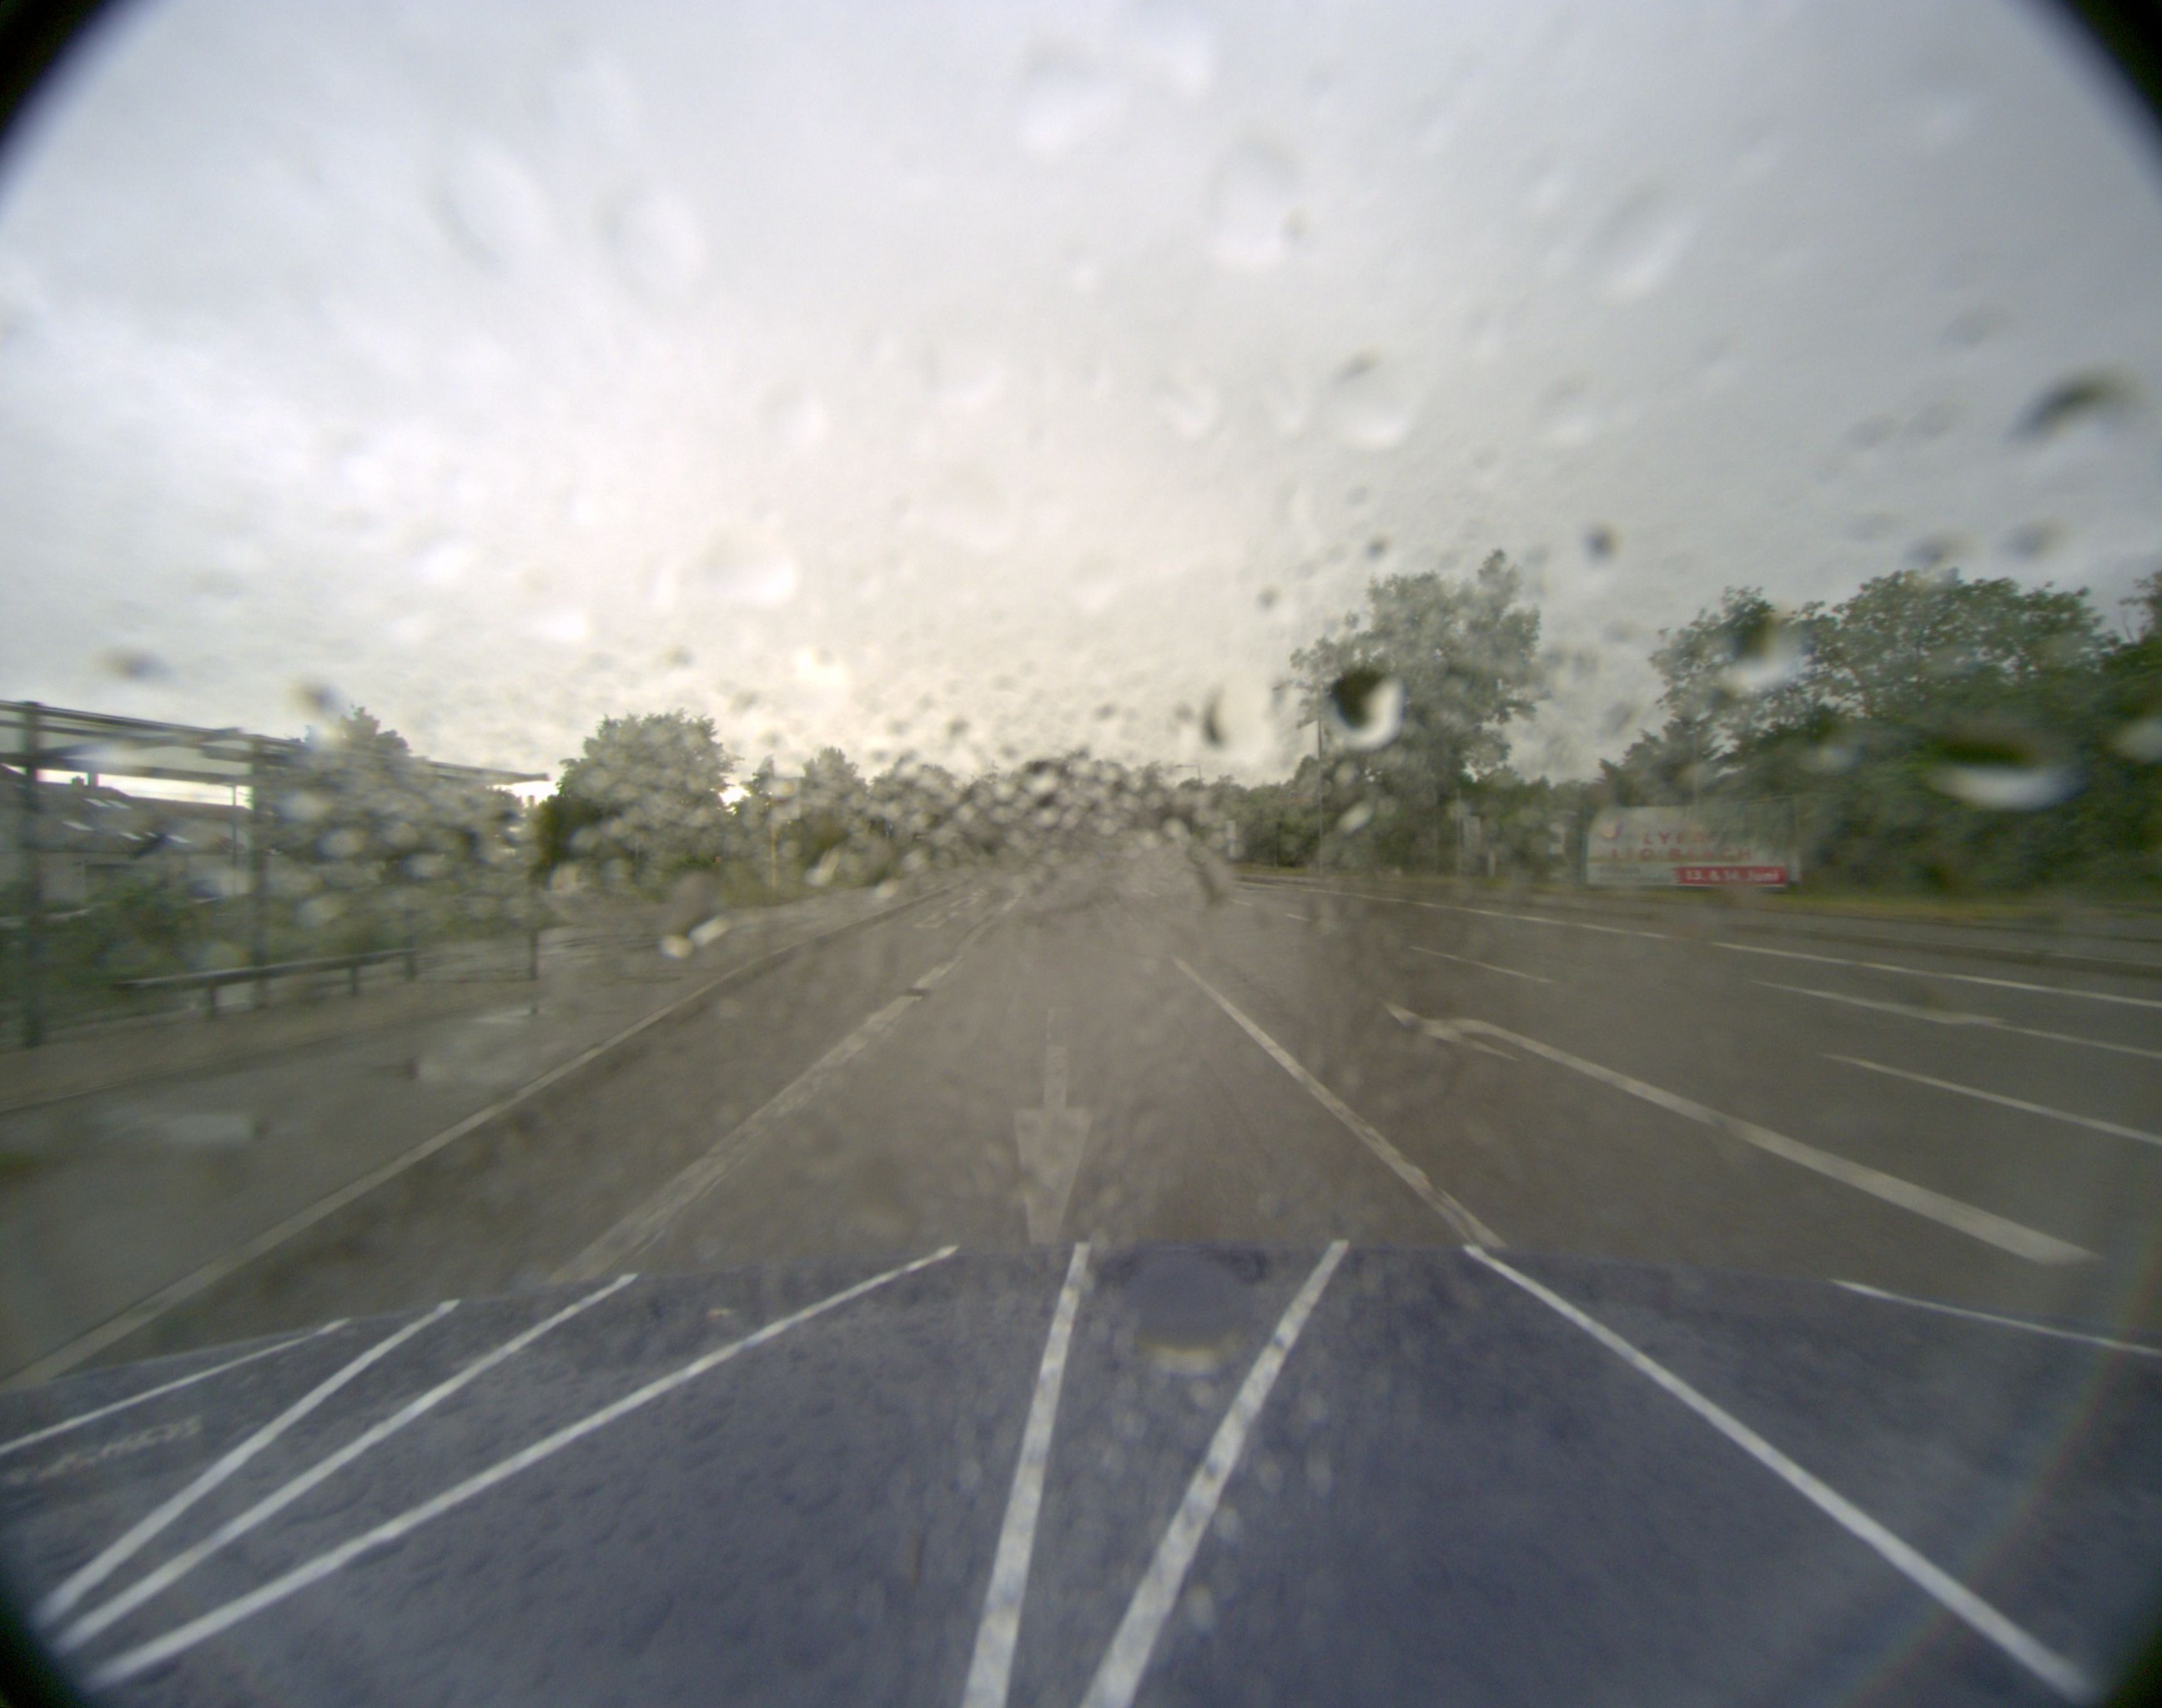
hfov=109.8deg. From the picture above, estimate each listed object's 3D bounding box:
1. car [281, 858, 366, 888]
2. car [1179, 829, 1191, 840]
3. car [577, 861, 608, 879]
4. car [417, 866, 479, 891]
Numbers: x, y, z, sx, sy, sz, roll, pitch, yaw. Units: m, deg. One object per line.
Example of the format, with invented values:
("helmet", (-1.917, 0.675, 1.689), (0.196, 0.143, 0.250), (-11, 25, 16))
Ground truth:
("car", (-50.297, 1.235, 50.589), (2.000, 1.740, 3.912), (-2, 2, -8))
("car", (19.353, -3.670, 141.494), (1.965, 2.002, 4.002), (-1, 2, 9))
("car", (-43.354, 1.406, 67.397), (1.819, 1.495, 3.601), (-3, 2, -40))
("car", (-51.005, 1.972, 61.327), (1.787, 1.677, 4.495), (-2, 2, -10))
